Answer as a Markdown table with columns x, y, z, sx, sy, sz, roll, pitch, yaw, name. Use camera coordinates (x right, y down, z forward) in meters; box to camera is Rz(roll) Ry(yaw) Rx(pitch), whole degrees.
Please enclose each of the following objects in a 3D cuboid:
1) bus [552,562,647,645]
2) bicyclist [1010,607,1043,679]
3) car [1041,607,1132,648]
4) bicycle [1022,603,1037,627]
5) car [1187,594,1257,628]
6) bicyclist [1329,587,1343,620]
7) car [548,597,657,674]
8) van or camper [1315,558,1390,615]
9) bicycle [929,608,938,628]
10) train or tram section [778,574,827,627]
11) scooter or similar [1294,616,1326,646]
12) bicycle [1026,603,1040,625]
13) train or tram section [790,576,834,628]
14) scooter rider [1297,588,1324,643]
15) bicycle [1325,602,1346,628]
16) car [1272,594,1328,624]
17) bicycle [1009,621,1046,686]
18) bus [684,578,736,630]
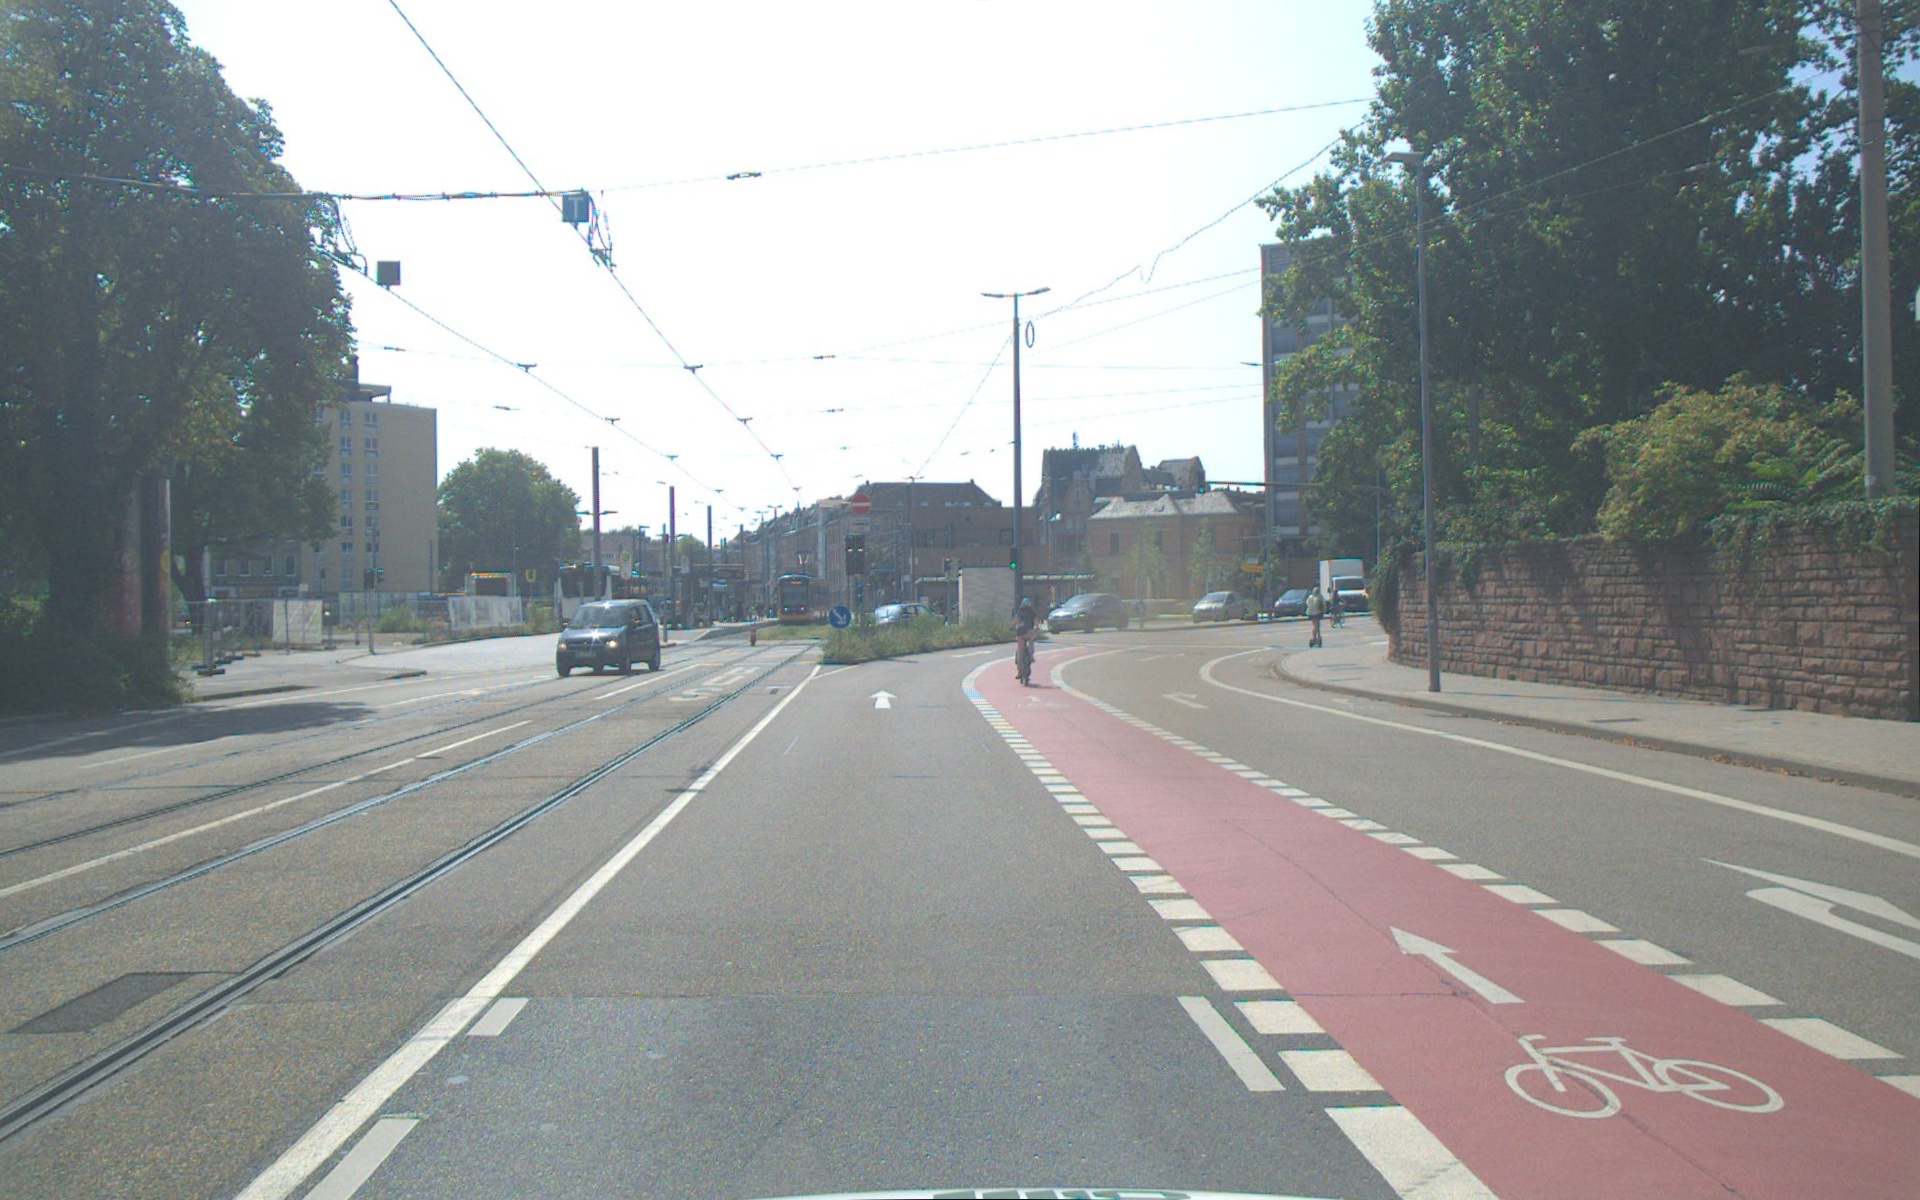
| x | y | z | sx | sy | sz | roll | pitch | yaw | name |
| --- | --- | --- | --- | --- | --- | --- | --- | --- | --- |
| -17.678 | 0.177 | 81.813 | 2.899 | 3.841 | 10.589 | 0 | 0 | -3 | bus |
| 1.276 | 0.824 | 31.908 | 0.590 | 1.358 | 0.660 | -1 | 0 | 0 | bicyclist |
| 5.371 | 1.143 | 69.960 | 1.741 | 1.639 | 4.658 | -1 | 0 | 34 | car |
| 3.702 | 0.798 | 87.524 | 0.591 | 1.232 | 1.812 | -1 | 0 | 8 | bicycle |
| 12.815 | 0.540 | 80.781 | 1.622 | 1.557 | 4.310 | -1 | 0 | 35 | car |
| 16.798 | 0.157 | 73.822 | 0.441 | 1.446 | 0.494 | -2 | 0 | 31 | bicyclist |
| -8.169 | 0.792 | 38.045 | 1.656 | 1.684 | 3.581 | 0 | 0 | 1 | car |
| 24.157 | -0.823 | 101.592 | 2.356 | 3.364 | 7.174 | -1 | 0 | 31 | van or camper |
| -1.385 | 0.962 | 87.487 | 0.455 | 1.051 | 1.548 | 0 | 0 | -1 | bicycle |
| -11.567 | 0.071 | 122.789 | 2.799 | 3.610 | 17.731 | 0 | 0 | -3 | train or tram section |
| 11.469 | 1.001 | 54.167 | 0.756 | 0.943 | 1.620 | 0 | 0 | 21 | scooter or similar |
| 4.197 | 0.782 | 95.280 | 0.591 | 1.232 | 1.812 | -1 | 0 | 8 | bicycle |
| -12.496 | 0.222 | 141.150 | 2.828 | 4.139 | 19.132 | 0 | 0 | -2 | train or tram section |
| 11.519 | 0.502 | 54.319 | 0.746 | 1.806 | 0.555 | -1 | 0 | 21 | scooter rider |
| 16.714 | 0.669 | 73.653 | 0.436 | 1.136 | 1.443 | -2 | 0 | 31 | bicycle |
| 18.597 | 0.463 | 90.381 | 1.666 | 1.557 | 4.173 | -1 | 0 | 32 | car |
| 1.286 | 1.010 | 31.818 | 0.591 | 1.183 | 1.810 | -1 | 0 | -1 | bicycle |
| -19.100 | 0.319 | 126.968 | 2.655 | 3.792 | 10.415 | 0 | 0 | -1 | bus |
